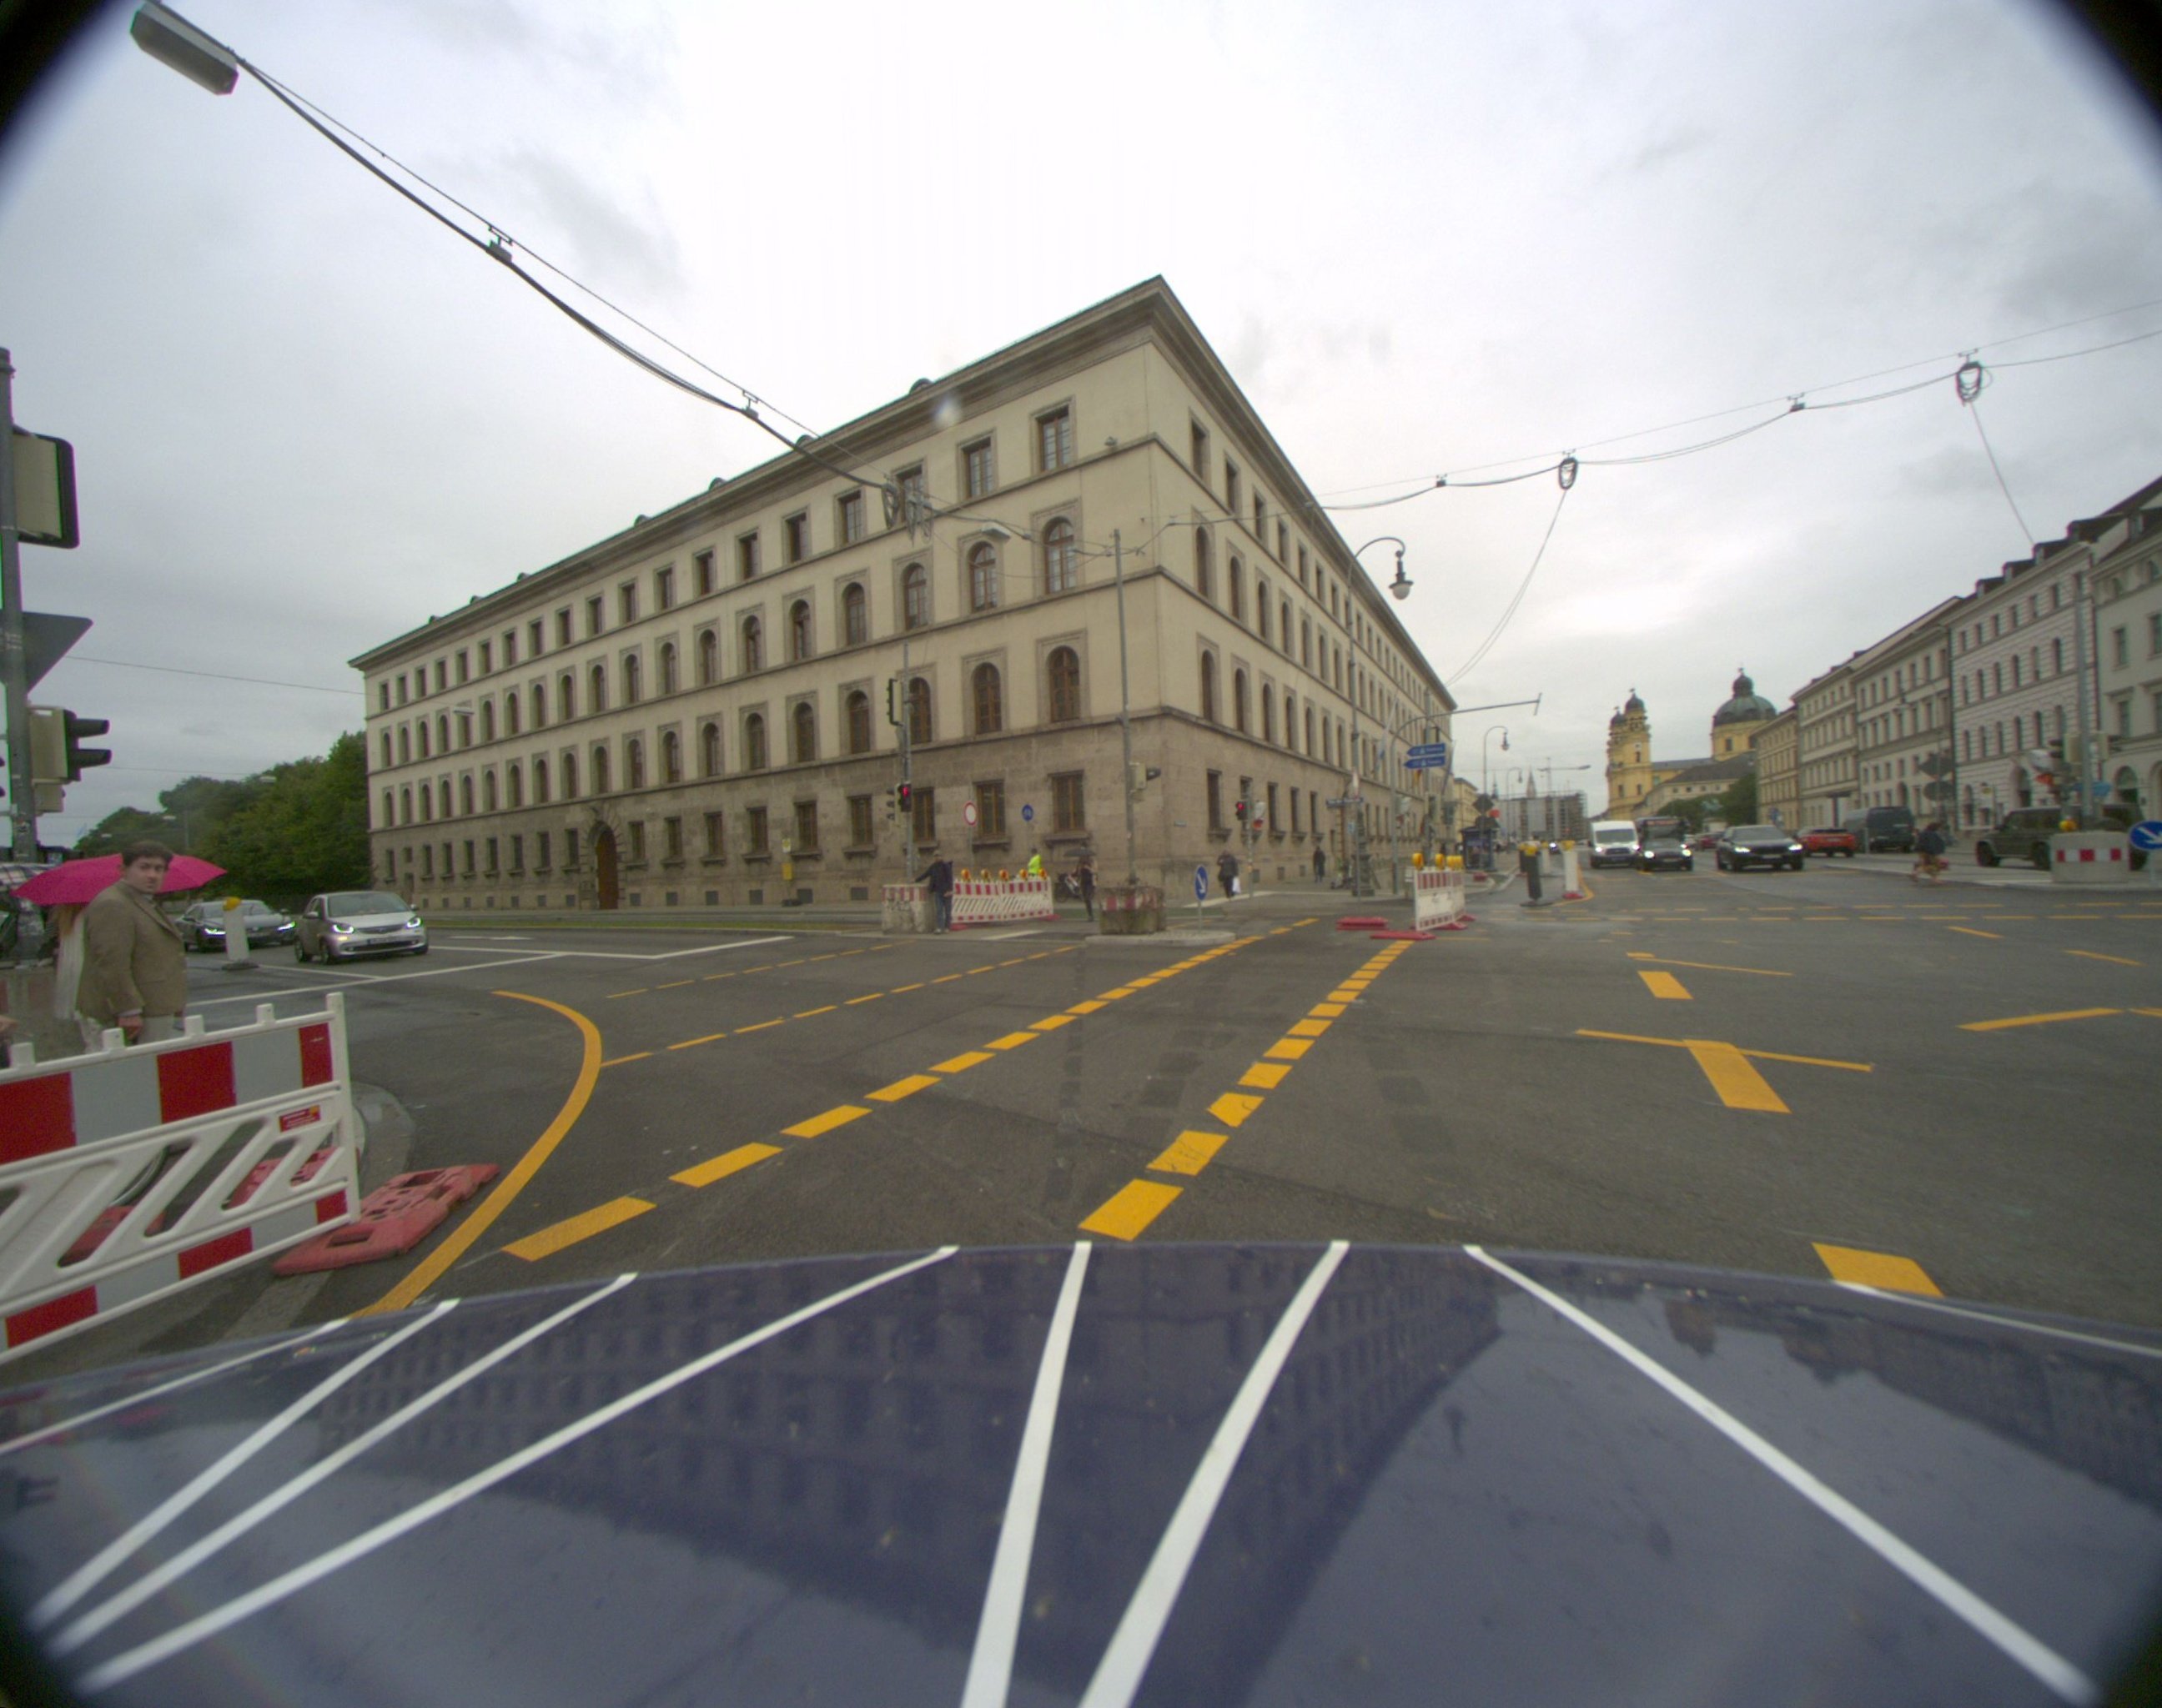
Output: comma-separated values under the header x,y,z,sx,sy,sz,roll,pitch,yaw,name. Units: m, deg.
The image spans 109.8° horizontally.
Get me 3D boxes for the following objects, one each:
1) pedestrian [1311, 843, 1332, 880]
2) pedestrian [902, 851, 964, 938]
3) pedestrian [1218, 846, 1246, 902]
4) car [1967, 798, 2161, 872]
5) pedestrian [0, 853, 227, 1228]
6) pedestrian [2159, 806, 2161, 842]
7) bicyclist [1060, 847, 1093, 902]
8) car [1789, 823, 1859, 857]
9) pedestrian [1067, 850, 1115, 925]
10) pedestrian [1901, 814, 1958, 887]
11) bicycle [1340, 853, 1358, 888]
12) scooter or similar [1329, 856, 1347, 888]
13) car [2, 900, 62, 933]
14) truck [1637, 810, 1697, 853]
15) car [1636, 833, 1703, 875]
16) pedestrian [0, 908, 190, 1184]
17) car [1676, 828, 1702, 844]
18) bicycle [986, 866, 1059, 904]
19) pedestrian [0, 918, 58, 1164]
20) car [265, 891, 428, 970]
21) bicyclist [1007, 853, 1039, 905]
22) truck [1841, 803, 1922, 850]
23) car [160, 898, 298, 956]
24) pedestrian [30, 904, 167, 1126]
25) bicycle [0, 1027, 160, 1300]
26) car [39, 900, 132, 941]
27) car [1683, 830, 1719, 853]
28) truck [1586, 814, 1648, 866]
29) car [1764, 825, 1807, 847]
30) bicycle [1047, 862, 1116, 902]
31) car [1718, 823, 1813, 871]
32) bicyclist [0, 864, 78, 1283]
x,y,z,sx,sy,sz,roll,pitch,yaw,name
10.675,0.320,33.728,0.737,1.645,0.728,1,3,34,pedestrian
-3.060,0.833,15.722,1.041,1.733,0.515,-3,1,22,pedestrian
4.564,0.587,22.955,0.737,1.645,0.727,0,3,19,pedestrian
30.473,-0.564,23.365,2.240,2.002,4.456,-3,0,20,car
-5.494,0.958,4.300,0.639,1.874,0.706,-2,2,36,pedestrian
52.314,-1.446,36.273,0.737,1.761,0.737,-2,1,31,pedestrian
-0.146,0.682,25.442,0.687,1.766,0.802,-2,2,35,bicyclist
40.063,-0.762,41.063,1.819,1.710,4.007,-3,0,32,car
0.250,0.808,18.726,0.737,1.762,0.848,-2,2,38,pedestrian
21.142,-0.100,18.939,0.734,1.762,0.740,-3,2,31,pedestrian
10.433,0.616,29.537,0.380,1.235,1.992,-3,1,26,bicycle
10.075,0.681,29.749,0.380,1.138,1.992,-3,1,26,scooter or similar
-70.574,4.160,51.100,3.990,2.002,2.004,-3,0,32,car
45.803,-1.813,59.560,2.983,2.996,7.155,-3,1,32,truck
25.723,-0.022,33.345,1.797,1.585,4.006,-3,1,30,car
-6.416,1.165,4.907,0.540,1.558,0.706,-2,2,34,pedestrian
67.865,-2.012,84.899,1.819,1.710,4.007,-3,0,33,car
-2.056,1.089,26.543,2.442,1.235,0.791,-3,1,29,bicycle
-7.344,1.235,4.937,0.680,1.558,0.706,-2,2,34,pedestrian
-16.783,1.697,17.319,3.990,1.495,1.637,-3,1,31,car
-2.015,0.852,26.502,0.687,1.739,0.802,-3,2,29,bicyclist
48.793,-1.627,46.471,2.216,2.647,4.792,-2,0,32,truck
-25.803,2.164,22.988,4.295,1.433,1.926,-3,2,31,car
-7.863,1.235,6.086,0.672,1.610,0.534,-2,2,34,pedestrian
-5.307,1.404,3.237,1.657,1.006,0.586,-4,1,-16,bicycle
-44.679,2.943,34.076,4.376,1.548,2.003,-3,1,31,car
53.375,-1.097,65.462,1.863,1.788,3.759,-2,0,32,car
28.316,-0.745,40.308,2.111,2.466,5.870,-3,0,31,truck
57.773,-1.468,62.392,1.819,1.710,4.007,-3,0,32,car
0.008,0.942,25.356,2.193,1.235,0.791,-3,2,36,bicycle
26.235,-0.292,29.289,1.995,1.674,4.007,-3,0,32,car
-5.209,0.993,3.263,0.800,1.843,0.567,-4,2,-16,bicyclist
